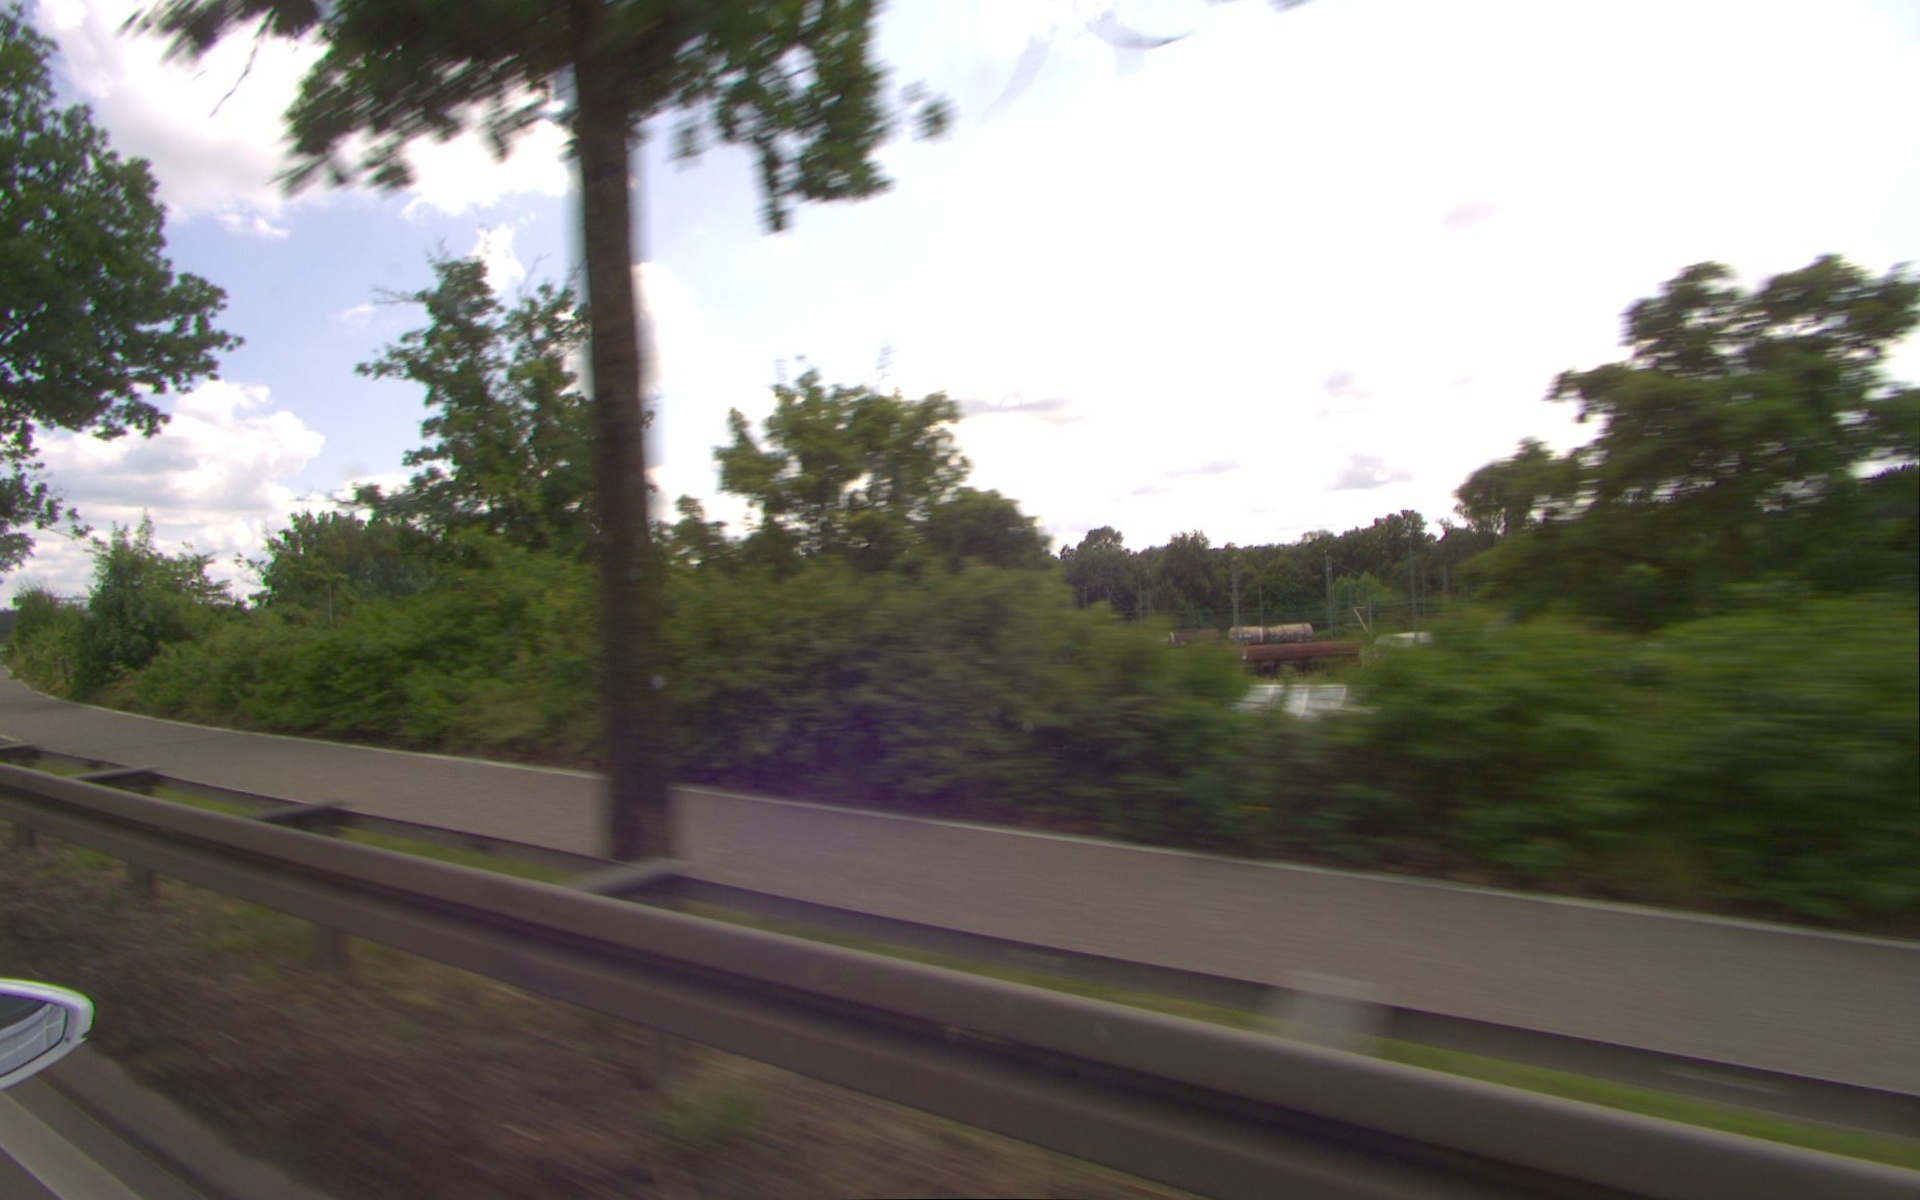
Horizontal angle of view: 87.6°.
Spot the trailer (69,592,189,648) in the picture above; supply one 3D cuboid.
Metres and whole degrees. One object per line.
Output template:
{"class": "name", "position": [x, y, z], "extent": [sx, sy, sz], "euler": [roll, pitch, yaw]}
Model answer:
{"class": "trailer", "position": [-69.964, 1.782, 84.868], "extent": [2.668, 4.334, 14.208], "euler": [0, -2, -18]}

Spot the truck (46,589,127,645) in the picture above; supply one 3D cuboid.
{"class": "truck", "position": [-67.642, 1.335, 77.689], "extent": [2.722, 4.188, 5.642], "euler": [0, -1, -18]}
